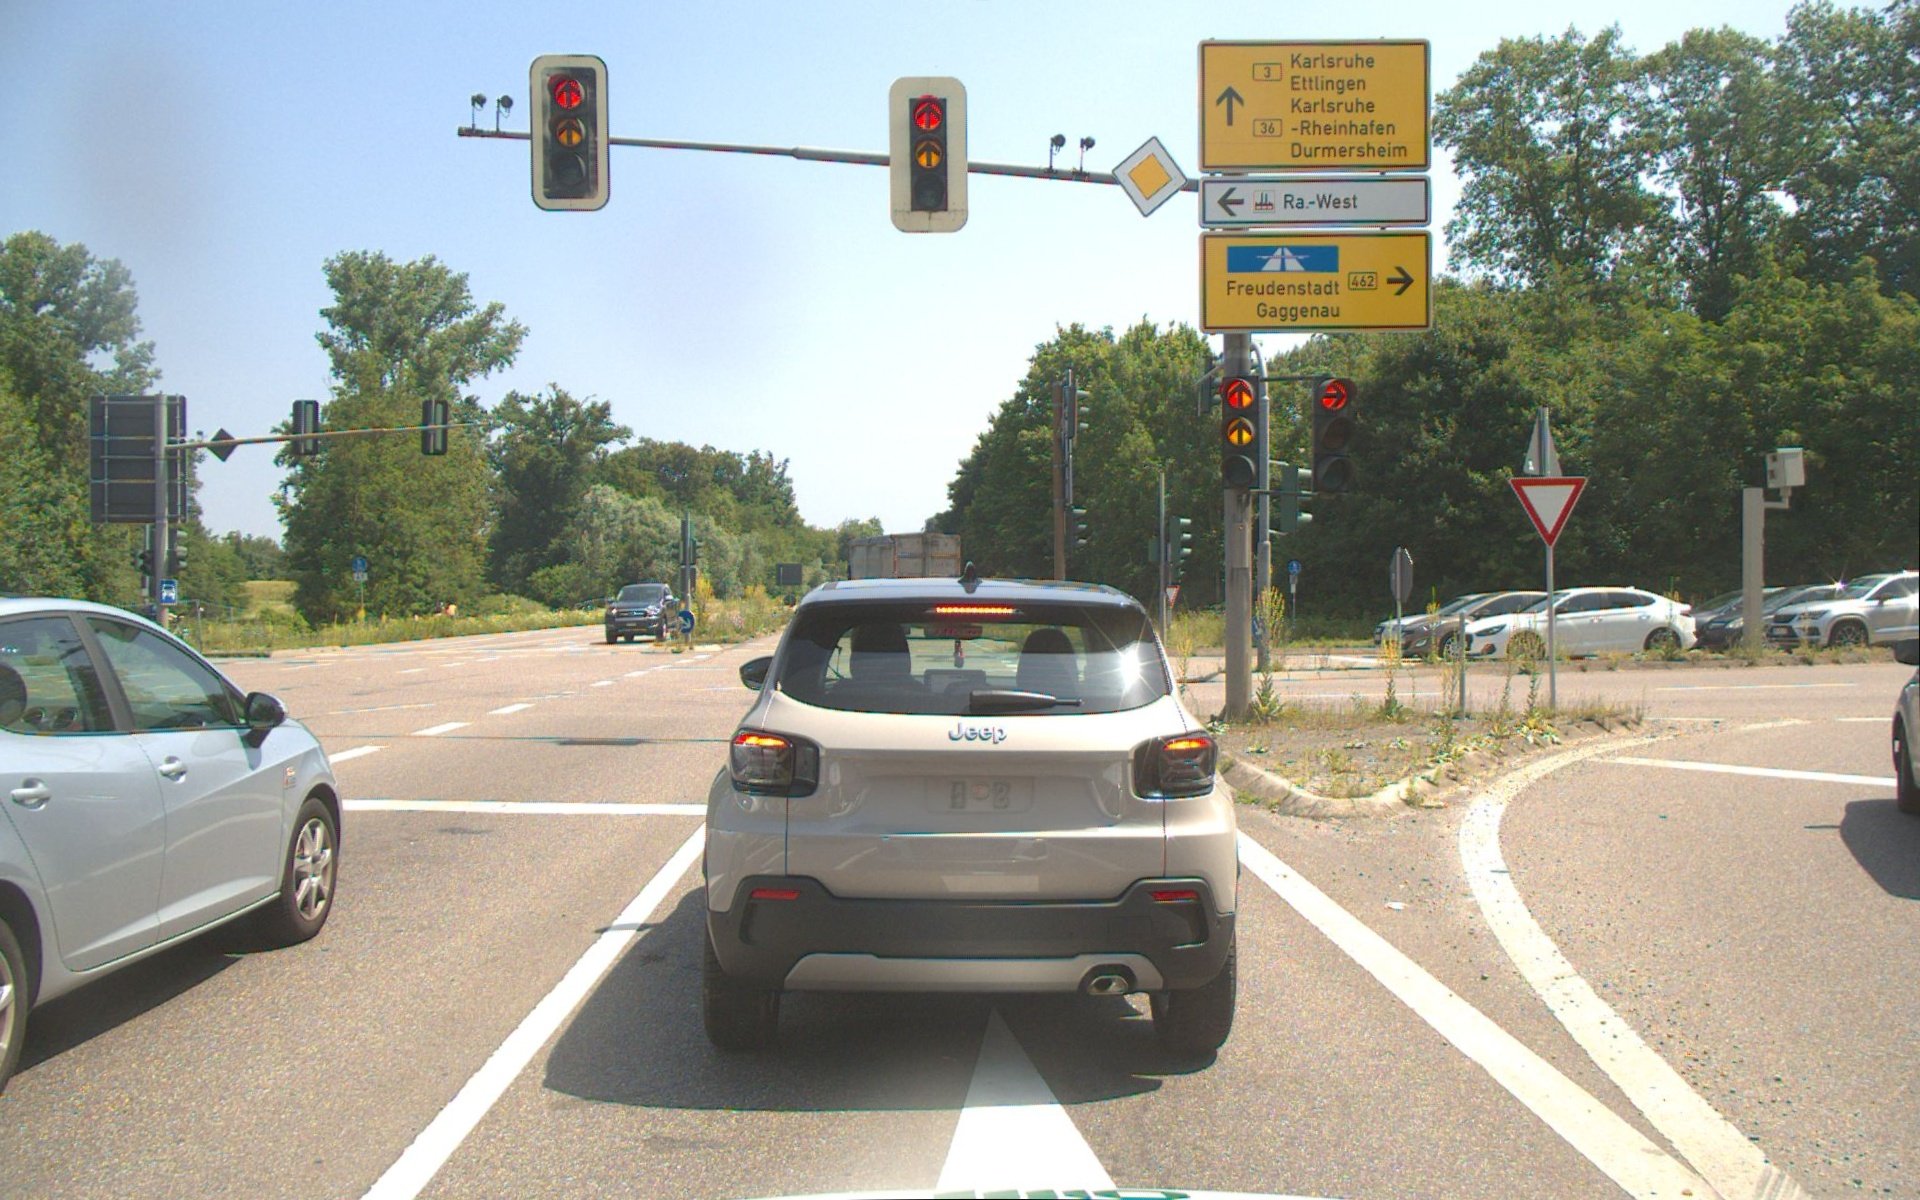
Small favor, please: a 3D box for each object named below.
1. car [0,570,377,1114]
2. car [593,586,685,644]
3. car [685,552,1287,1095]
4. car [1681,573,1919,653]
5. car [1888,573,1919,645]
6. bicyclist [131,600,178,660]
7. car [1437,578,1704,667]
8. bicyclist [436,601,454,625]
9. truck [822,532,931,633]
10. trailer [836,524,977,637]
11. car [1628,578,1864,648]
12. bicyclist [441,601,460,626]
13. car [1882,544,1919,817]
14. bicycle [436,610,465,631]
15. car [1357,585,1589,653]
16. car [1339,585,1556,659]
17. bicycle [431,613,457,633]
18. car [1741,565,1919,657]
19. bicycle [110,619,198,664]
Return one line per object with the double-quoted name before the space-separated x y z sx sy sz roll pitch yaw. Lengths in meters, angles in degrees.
"car" -3.382 0.627 5.382 1.632 1.455 3.827 1 0 -1
"car" -10.268 0.456 53.261 1.953 1.707 5.364 -2 0 -1
"car" 0.050 0.641 6.779 1.731 1.561 3.999 0 0 -1
"car" 17.930 0.275 35.108 4.330 1.562 2.121 -1 -1 -2
"car" 23.310 0.139 35.989 5.025 1.560 2.137 -1 -1 -2
"bicyclist" -20.228 0.746 41.550 0.908 1.485 0.713 -1 0 36
"car" 11.581 0.414 31.565 4.331 1.562 1.999 -1 0 -3
"bicyclist" -26.514 0.687 85.154 0.719 1.216 0.592 -1 0 9
"truck" -3.682 -0.706 71.203 3.279 4.058 6.504 1 0 -16
"trailer" -2.326 -0.699 65.786 3.326 4.058 10.762 1 0 -14
"car" 18.382 0.311 38.830 4.523 1.525 2.111 -1 -1 -2
"bicyclist" -25.666 0.691 83.314 0.741 1.216 0.592 -1 0 9
"car" 6.915 0.533 10.034 1.720 1.804 4.113 -1 0 21
"bicycle" -25.665 1.014 83.278 0.661 1.022 1.802 -1 0 8
"car" 12.030 0.442 39.022 4.831 1.525 2.020 -1 -1 -1
"car" 10.372 0.456 35.380 4.011 1.472 1.994 -1 0 -4
"bicycle" -26.549 1.172 85.097 0.591 1.023 1.557 -1 0 9
"car" 17.643 0.188 32.032 4.088 1.688 1.999 -1 0 -2
"bicycle" -20.217 1.029 41.515 0.709 1.082 1.863 -1 0 35
